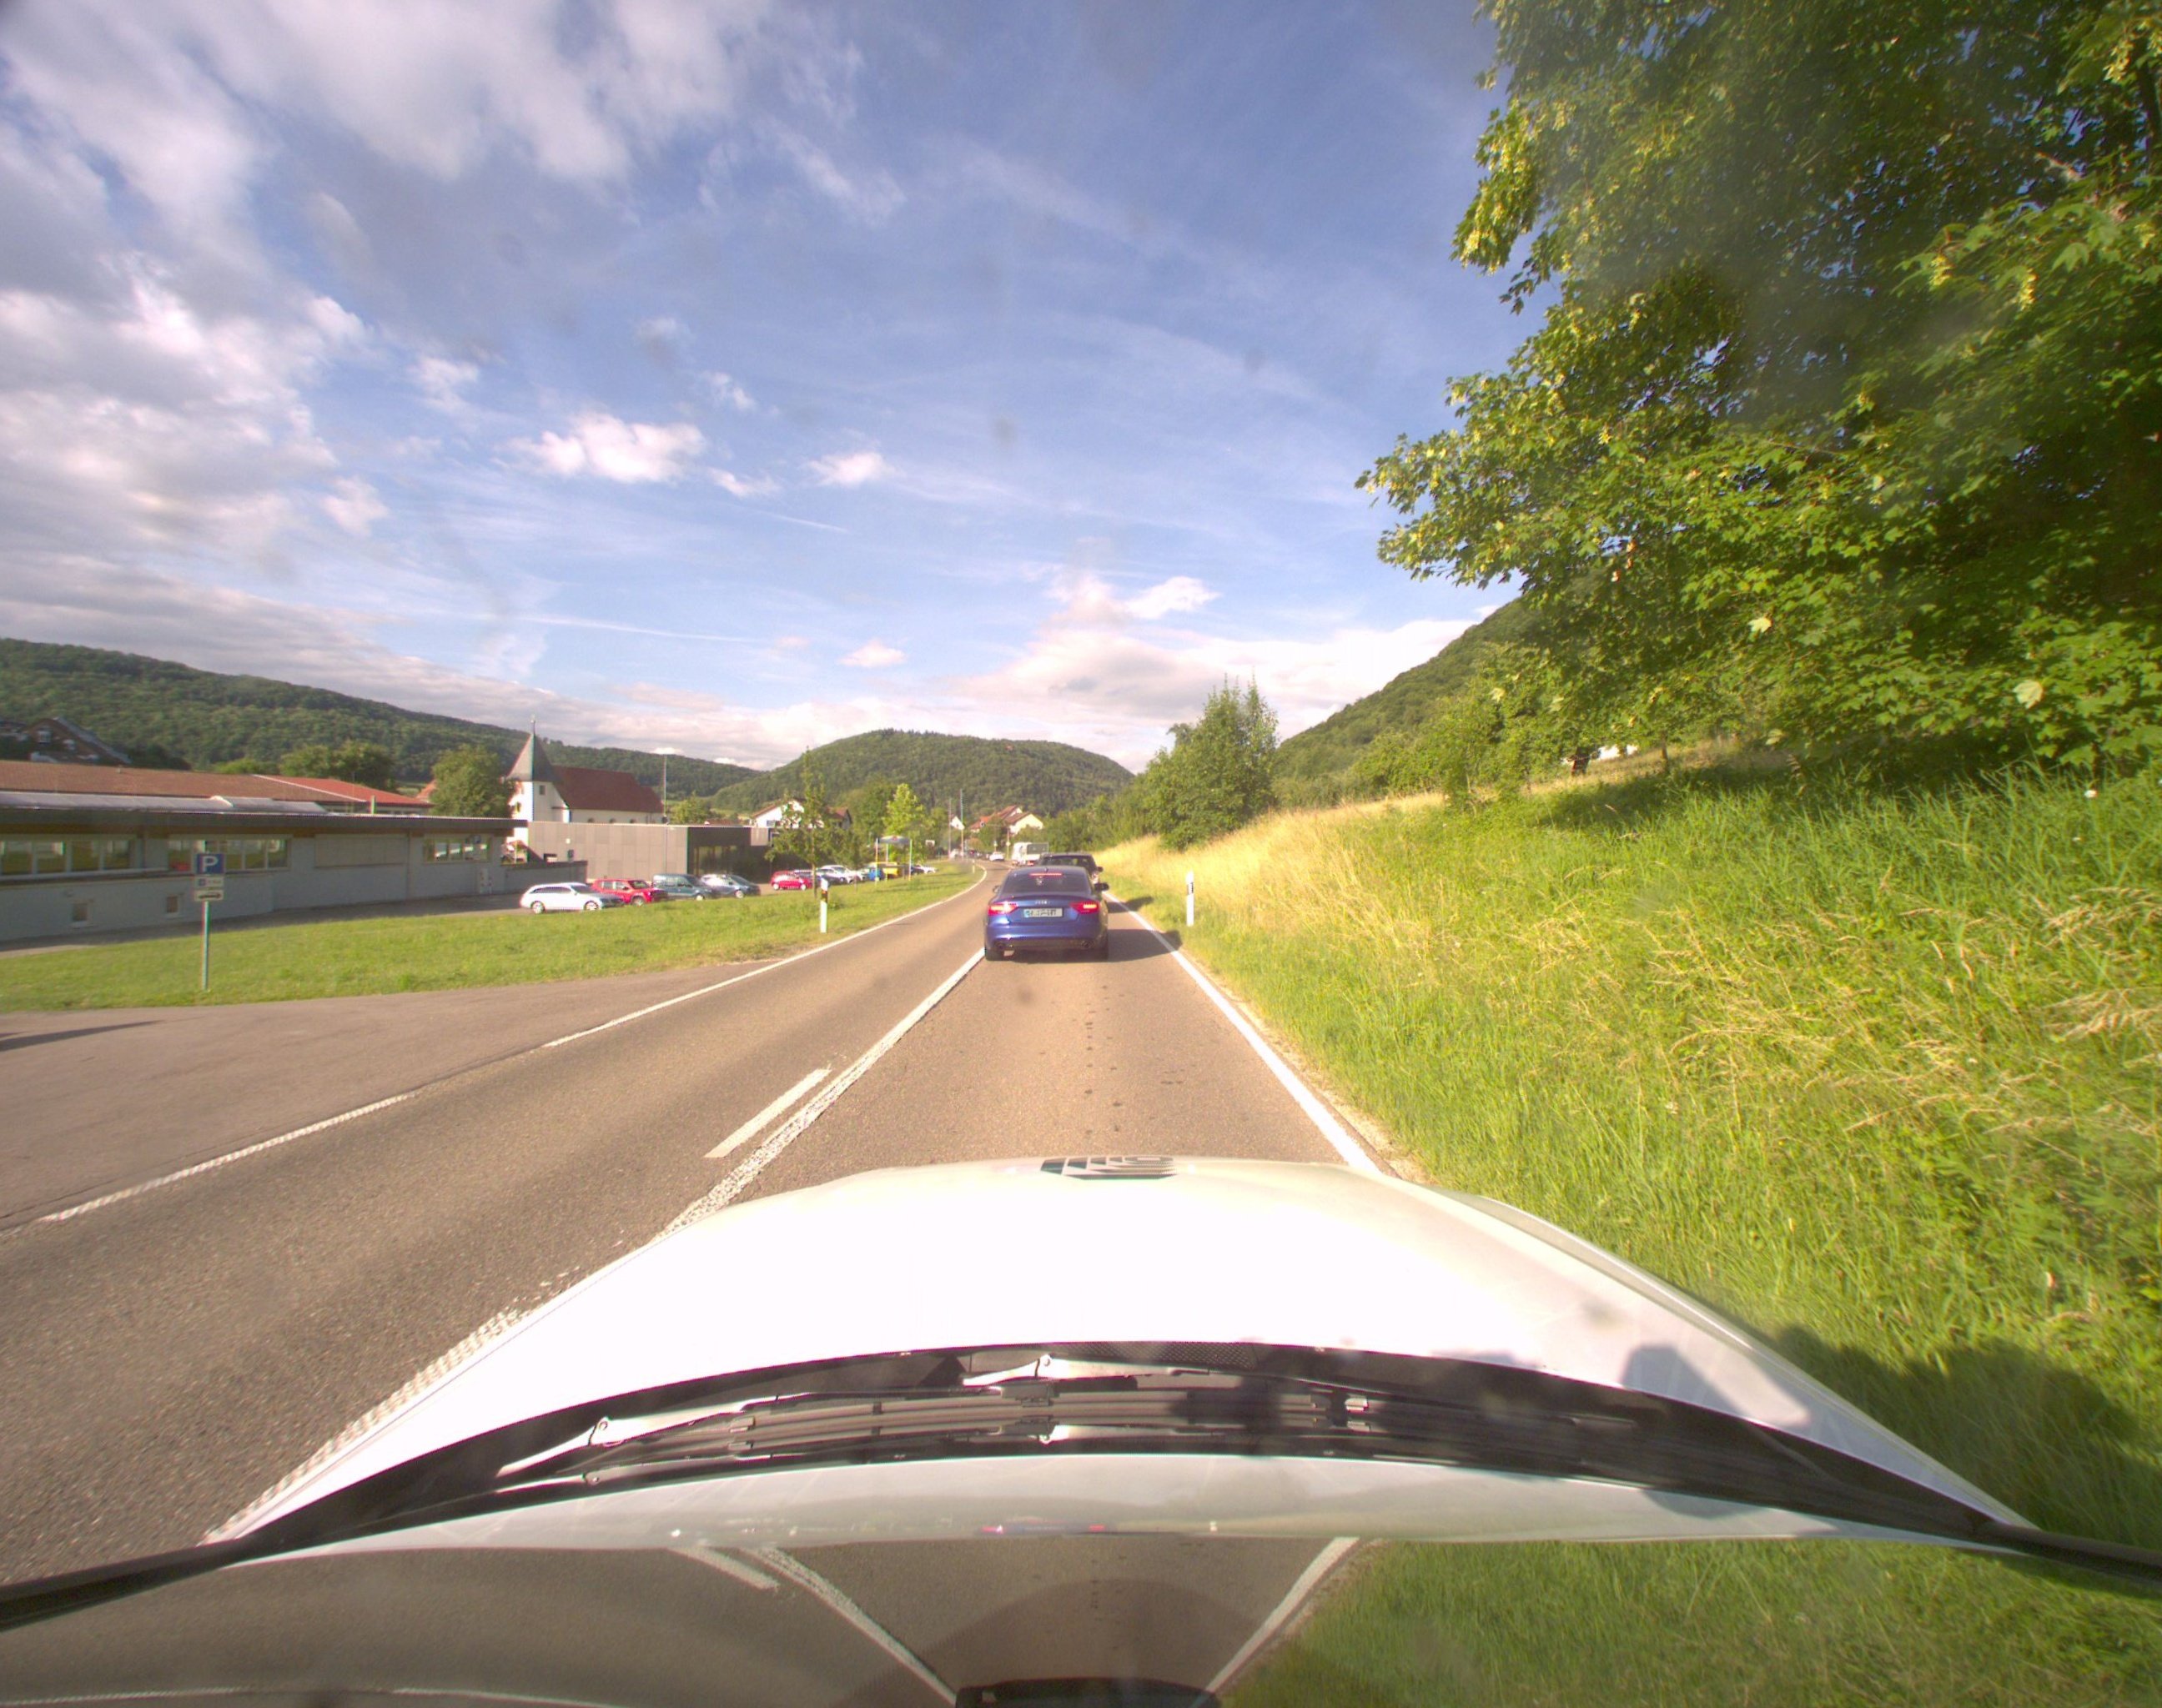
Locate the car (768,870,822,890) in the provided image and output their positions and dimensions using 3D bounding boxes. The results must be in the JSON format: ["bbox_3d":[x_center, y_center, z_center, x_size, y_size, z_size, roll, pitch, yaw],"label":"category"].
[{"bbox_3d":[-22.872,2.069,65.161,3.606,1.444,1.651,-2,0,6],"label":"car"}]

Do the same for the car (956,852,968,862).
[{"bbox_3d":[-24.382,0.627,166.995,1.682,1.924,3.974,-2,0,-19],"label":"car"}]

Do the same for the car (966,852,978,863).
[{"bbox_3d":[-20.811,0.651,155.657,1.681,1.924,3.976,-2,0,-17],"label":"car"}]

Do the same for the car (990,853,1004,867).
[{"bbox_3d":[-12.513,0.890,121.218,1.660,1.924,3.985,-2,0,-11],"label":"car"}]

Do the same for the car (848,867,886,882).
[{"bbox_3d":[-21.684,2.072,82.708,3.359,1.373,1.659,-2,0,-1],"label":"car"}]

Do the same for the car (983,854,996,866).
[{"bbox_3d":[-14.990,1.039,133.143,1.661,1.924,3.982,-2,0,-13],"label":"car"}]

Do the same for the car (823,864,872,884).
[{"bbox_3d":[-22.006,1.865,76.893,4.056,1.672,1.600,-2,2,6],"label":"car"}]

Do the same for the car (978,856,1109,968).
[{"bbox_3d":[-0.557,0.799,12.856,1.738,1.450,3.514,-2,0,-2],"label":"car"}]

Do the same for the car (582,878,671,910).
[{"bbox_3d":[-24.956,2.214,44.814,3.900,1.579,1.758,-2,0,5],"label":"car"}]

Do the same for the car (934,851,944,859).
[{"bbox_3d":[-34.072,0.199,195.187,1.682,1.924,3.975,-2,0,-18],"label":"car"}]

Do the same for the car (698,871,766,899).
[{"bbox_3d":[-23.581,2.074,55.030,3.799,1.722,1.735,-2,0,5],"label":"car"}]

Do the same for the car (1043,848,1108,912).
[{"bbox_3d":[-0.223,0.660,22.317,1.642,1.625,3.513,0,0,-3],"label":"car"}]

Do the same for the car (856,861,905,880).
[{"bbox_3d":[-21.021,1.690,85.346,4.529,1.815,1.844,-2,0,6],"label":"car"}]

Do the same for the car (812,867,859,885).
[{"bbox_3d":[-22.072,1.966,73.411,3.647,1.493,1.600,-2,1,6],"label":"car"}]

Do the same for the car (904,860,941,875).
[{"bbox_3d":[-19.417,1.691,99.836,4.015,1.660,1.659,-2,0,6],"label":"car"}]

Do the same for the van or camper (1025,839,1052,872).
[{"bbox_3d":[-3.590,0.131,68.121,2.049,2.505,5.801,-2,0,-5],"label":"van or camper"}]

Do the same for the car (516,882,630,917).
[{"bbox_3d":[-26.098,2.322,41.927,4.618,1.589,2.003,-2,0,5],"label":"car"}]

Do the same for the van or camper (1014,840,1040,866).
[{"bbox_3d":[-5.870,-0.074,87.498,2.280,2.713,5.749,-2,0,-9],"label":"van or camper"}]

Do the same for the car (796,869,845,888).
[{"bbox_3d":[-22.460,2.112,70.212,3.606,1.405,1.600,-2,0,6],"label":"car"}]

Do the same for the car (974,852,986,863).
[{"bbox_3d":[-18.139,0.640,146.236,1.663,1.924,3.978,-2,0,-16],"label":"car"}]

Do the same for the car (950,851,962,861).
[{"bbox_3d":[-27.029,0.447,176.303,1.683,1.924,3.972,-2,0,-20],"label":"car"}]

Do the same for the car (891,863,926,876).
[{"bbox_3d":[-20.212,1.834,95.483,3.693,1.439,1.512,-2,0,6],"label":"car"}]

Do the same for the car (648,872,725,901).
[{"bbox_3d":[-24.420,1.990,50.483,3.845,1.722,1.757,-1,0,3],"label":"car"}]
